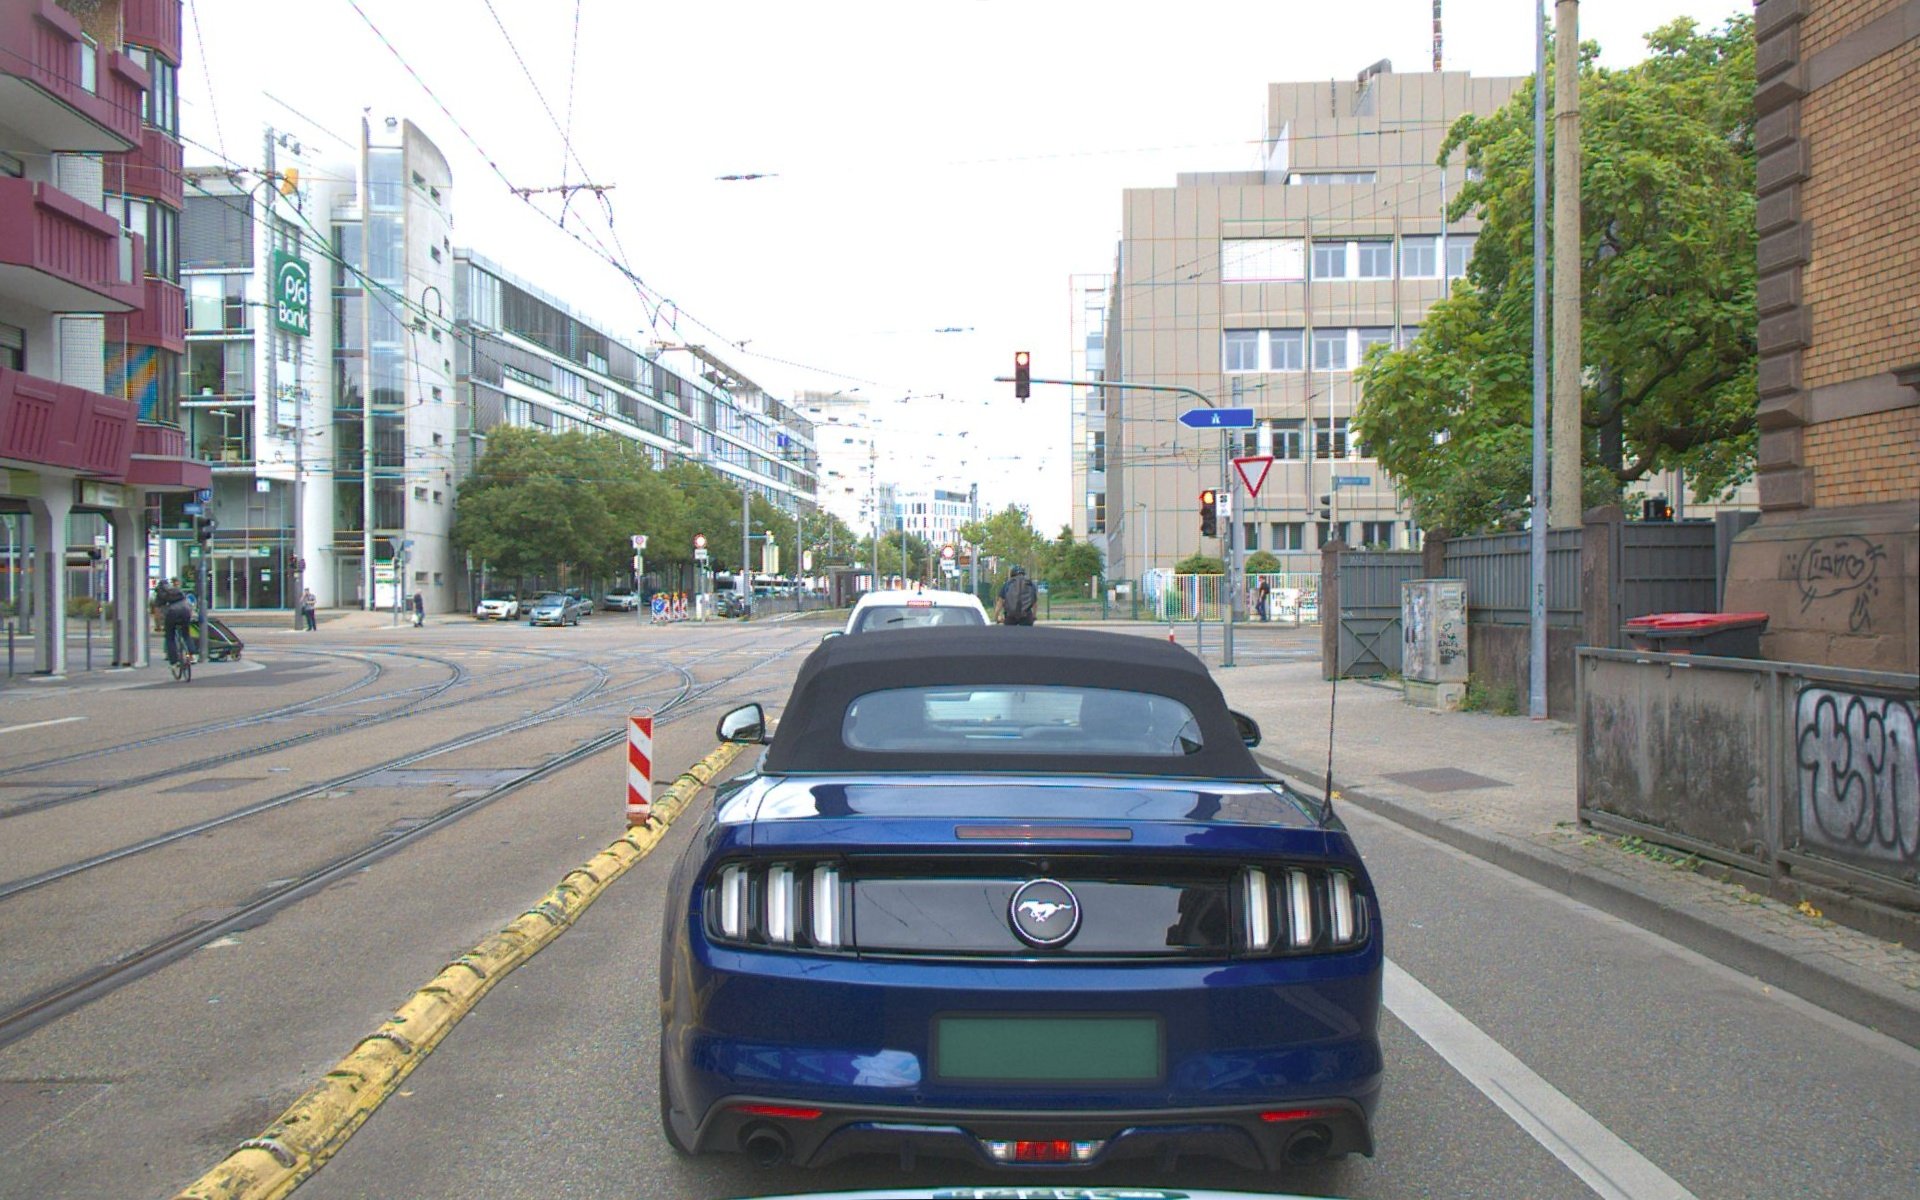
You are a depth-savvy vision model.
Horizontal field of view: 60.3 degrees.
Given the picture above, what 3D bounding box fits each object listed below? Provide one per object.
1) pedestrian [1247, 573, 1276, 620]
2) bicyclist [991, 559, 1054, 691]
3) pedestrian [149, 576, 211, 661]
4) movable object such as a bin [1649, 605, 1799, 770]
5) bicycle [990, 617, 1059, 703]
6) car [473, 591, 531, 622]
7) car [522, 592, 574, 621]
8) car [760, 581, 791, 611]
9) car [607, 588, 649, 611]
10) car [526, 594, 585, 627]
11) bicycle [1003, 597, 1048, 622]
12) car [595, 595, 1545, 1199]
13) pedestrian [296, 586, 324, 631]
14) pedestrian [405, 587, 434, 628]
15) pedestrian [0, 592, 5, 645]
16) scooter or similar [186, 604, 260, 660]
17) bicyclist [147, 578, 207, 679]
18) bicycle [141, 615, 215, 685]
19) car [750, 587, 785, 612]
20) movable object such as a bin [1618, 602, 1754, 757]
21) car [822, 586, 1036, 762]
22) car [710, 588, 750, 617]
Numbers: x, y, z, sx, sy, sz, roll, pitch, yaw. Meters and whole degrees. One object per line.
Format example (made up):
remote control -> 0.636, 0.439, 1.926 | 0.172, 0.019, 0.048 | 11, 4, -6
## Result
pedestrian -> 12.421, -0.144, 68.256 | 1.063, 1.931, 0.902 | -1, 0, 4
bicyclist -> 0.872, 0.336, 23.466 | 0.780, 1.816, 1.232 | -1, 0, -3
pedestrian -> -16.434, 0.379, 34.873 | 0.929, 1.774, 0.811 | 0, 0, -5
movable object such as a bin -> 5.498, 0.614, 11.933 | 0.650, 1.101, 0.700 | -4, 0, -6
bicycle -> 0.887, 0.815, 23.295 | 0.784, 1.105, 2.130 | -1, 0, -3
car -> -25.054, 0.321, 90.574 | 1.791, 1.584, 4.218 | 1, 1, 3
car -> -24.321, 0.368, 97.780 | 1.791, 1.584, 4.218 | 1, 1, 3
car -> -12.911, -0.316, 115.757 | 1.749, 2.022, 4.120 | -1, 0, -1
car -> -23.231, -0.052, 115.993 | 1.945, 1.584, 4.513 | 1, 1, 0
car -> -20.167, 0.503, 82.605 | 1.633, 1.533, 4.236 | 1, 1, 3
bicycle -> 2.883, 0.423, 72.762 | 0.629, 0.998, 2.125 | -1, -2, -42
car -> 0.198, 0.722, 5.365 | 1.838, 1.428, 4.282 | 1, 0, -1
pedestrian -> -28.173, 0.368, 71.712 | 0.816, 1.897, 0.766 | -1, 0, 11
pedestrian -> -25.166, 0.359, 77.038 | 0.968, 1.888, 0.902 | -1, 0, 6
pedestrian -> -31.427, 0.600, 53.203 | 0.915, 1.700, 0.766 | -1, 0, 11
scooter or similar -> -15.566, 0.677, 34.960 | 1.172, 1.148, 0.946 | 0, 0, -3
bicyclist -> -13.384, 0.480, 28.259 | 0.744, 1.680, 1.042 | -1, 0, -35
bicycle -> -13.341, 0.830, 28.191 | 0.756, 1.105, 2.332 | -1, 0, -35
car -> -12.852, -0.046, 110.660 | 1.830, 1.634, 4.212 | -1, 0, -1
movable object such as a bin -> 5.544, 0.592, 12.650 | 0.638, 1.101, 0.677 | -4, 0, -6
car -> -0.434, 0.613, 16.157 | 1.799, 1.464, 4.183 | -1, 0, -5
car -> -13.469, 0.143, 97.046 | 1.841, 1.657, 4.086 | -1, 0, -1
